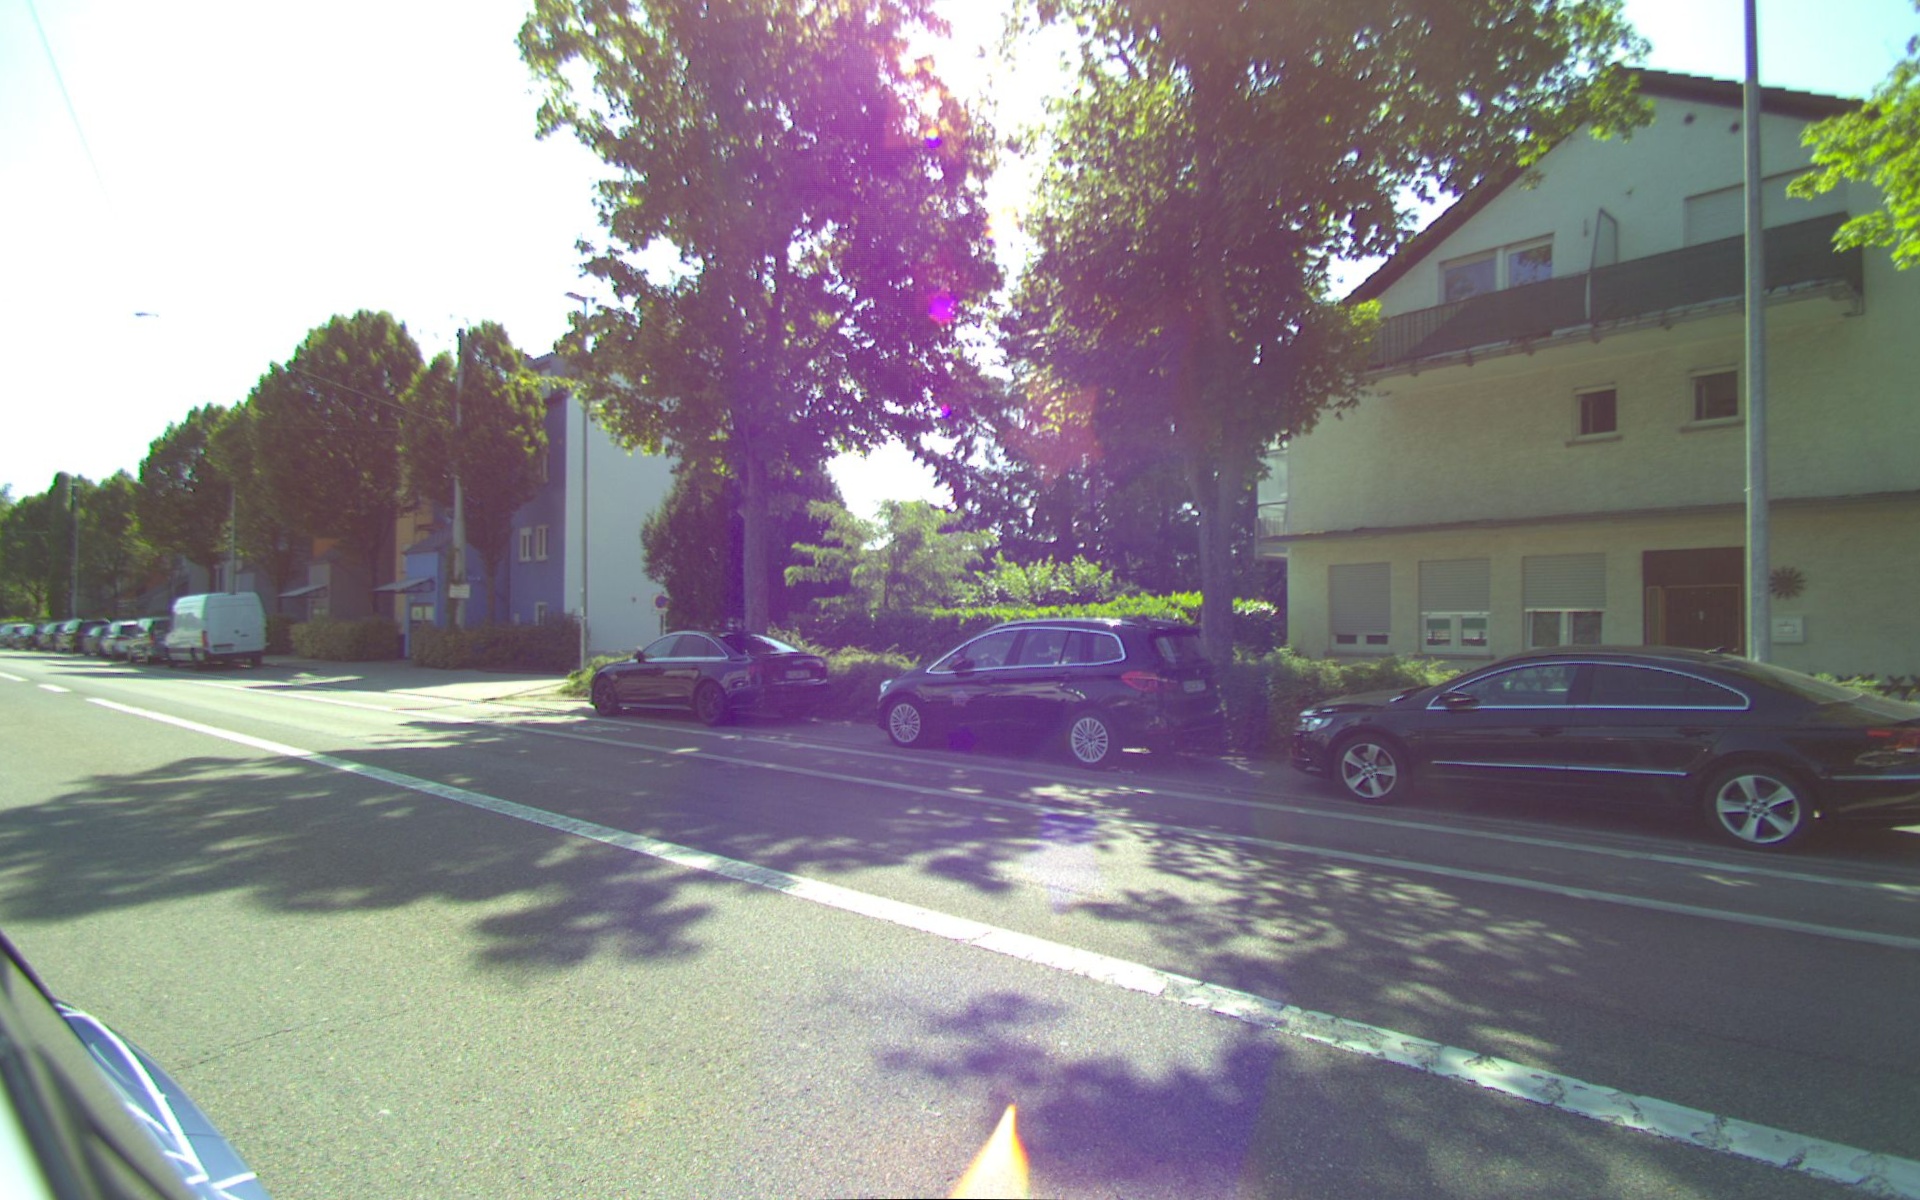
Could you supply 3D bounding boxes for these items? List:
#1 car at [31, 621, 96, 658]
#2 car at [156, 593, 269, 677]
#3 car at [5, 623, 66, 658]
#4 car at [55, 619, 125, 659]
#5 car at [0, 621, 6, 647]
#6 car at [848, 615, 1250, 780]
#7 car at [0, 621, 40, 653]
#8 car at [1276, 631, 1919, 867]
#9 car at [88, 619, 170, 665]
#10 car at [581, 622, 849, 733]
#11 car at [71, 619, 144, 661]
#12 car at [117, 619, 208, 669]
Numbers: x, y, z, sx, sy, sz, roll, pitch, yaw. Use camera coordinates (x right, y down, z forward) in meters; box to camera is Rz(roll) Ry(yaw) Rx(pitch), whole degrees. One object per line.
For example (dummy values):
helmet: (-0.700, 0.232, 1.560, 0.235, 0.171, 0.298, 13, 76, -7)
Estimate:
car: (-50.233, 2.196, 56.678, 4.766, 1.818, 1.974, -2, 4, 41)
car: (-27.375, 1.241, 36.953, 6.213, 2.713, 1.973, -2, 4, 43)
car: (-54.909, 2.381, 60.098, 4.766, 1.818, 1.974, -2, 4, 41)
car: (-45.736, 2.027, 53.175, 4.766, 1.818, 1.974, -2, 4, 41)
car: (-68.780, 2.492, 71.065, 4.766, 1.818, 1.974, -2, 4, 41)
car: (0.912, 1.016, 12.223, 4.619, 1.583, 1.844, -1, 0, 41)
car: (-60.229, 2.355, 64.248, 4.766, 1.818, 1.974, -2, 4, 41)
car: (5.230, 1.009, 8.410, 4.619, 1.426, 1.844, -1, 0, 41)
car: (-38.059, 1.879, 46.319, 4.766, 1.818, 1.974, -2, 4, 41)
car: (-4.084, 1.154, 16.511, 4.616, 1.583, 1.845, -1, -2, 39)
car: (-42.129, 1.951, 49.993, 4.254, 1.818, 1.974, -2, 4, 41)
car: (-33.521, 1.813, 42.502, 4.766, 1.818, 1.974, -2, 4, 41)
